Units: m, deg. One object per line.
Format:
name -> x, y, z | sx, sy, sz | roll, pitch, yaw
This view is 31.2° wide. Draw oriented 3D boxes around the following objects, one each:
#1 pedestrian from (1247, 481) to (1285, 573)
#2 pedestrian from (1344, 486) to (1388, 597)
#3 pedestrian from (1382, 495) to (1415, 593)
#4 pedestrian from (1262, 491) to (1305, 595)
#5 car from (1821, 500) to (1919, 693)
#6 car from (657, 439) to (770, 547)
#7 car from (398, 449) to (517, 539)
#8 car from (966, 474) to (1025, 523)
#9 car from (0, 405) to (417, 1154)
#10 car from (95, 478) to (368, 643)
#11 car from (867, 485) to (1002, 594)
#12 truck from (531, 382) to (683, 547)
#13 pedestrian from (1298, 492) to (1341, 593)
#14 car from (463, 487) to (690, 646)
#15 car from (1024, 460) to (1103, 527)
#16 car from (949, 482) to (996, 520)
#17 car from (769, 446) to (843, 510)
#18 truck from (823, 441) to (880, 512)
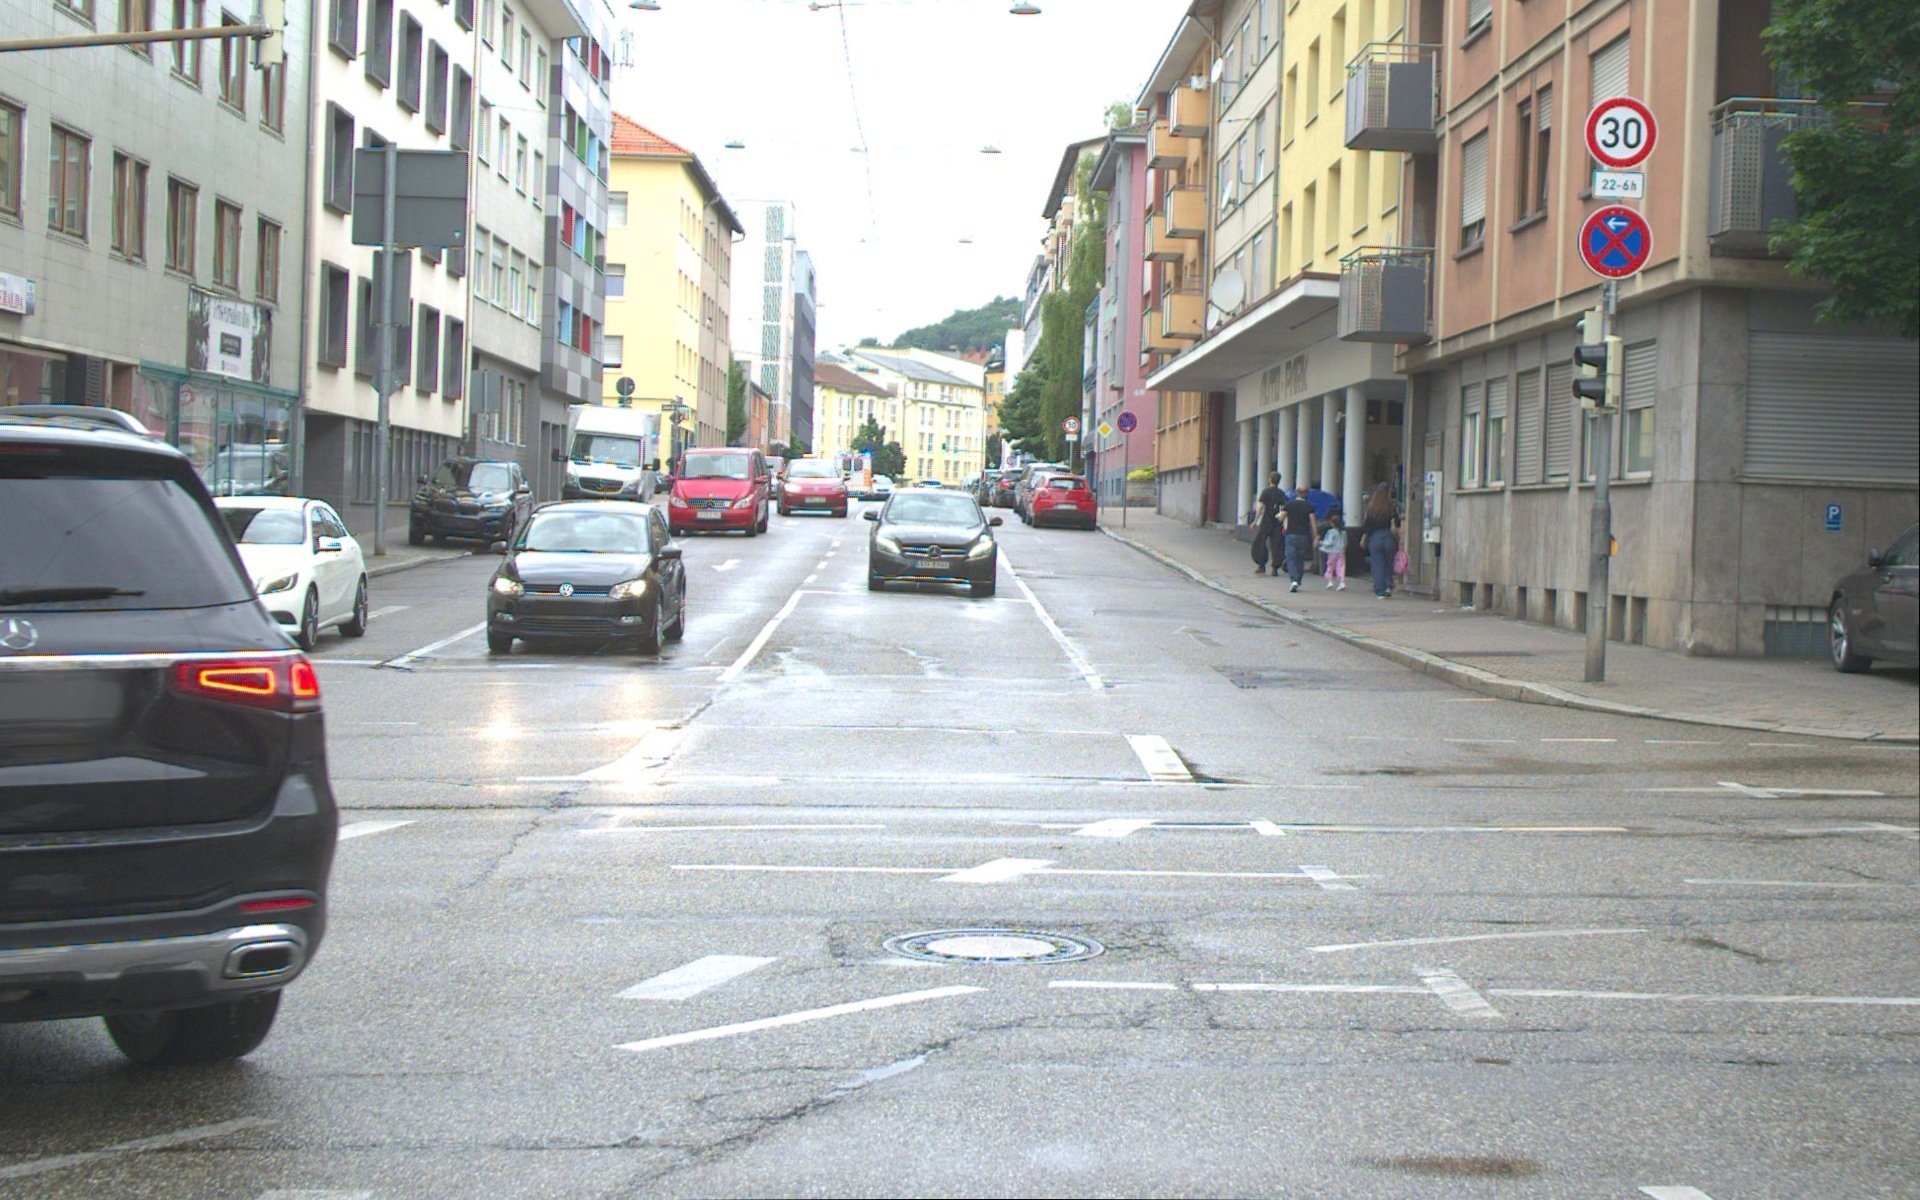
pedestrian -> 5.356, -1.282, 60.156 | 0.520, 1.550, 0.569 | 3, 4, -1
pedestrian -> 5.921, -0.856, 50.163 | 0.479, 1.560, 0.558 | 3, 4, -1
pedestrian -> 6.405, -0.822, 50.231 | 0.363, 1.394, 0.370 | 3, 4, -1
pedestrian -> 4.972, -0.881, 52.924 | 0.520, 1.533, 0.569 | 3, 4, -1
car -> 8.643, -0.036, 28.480 | 1.844, 1.549, 4.796 | 1, 1, 1
car -> -5.311, -2.283, 74.510 | 2.065, 2.233, 4.620 | 1, 1, 0
car -> -9.389, -1.968, 64.468 | 1.723, 1.597, 4.000 | 1, 1, -1
car -> 1.317, -3.681, 125.323 | 2.016, 1.557, 4.000 | 3, 0, 2
car -> -3.556, 0.373, 9.911 | 2.021, 1.733, 4.747 | 1, 1, -35
car -> -7.036, -0.409, 33.566 | 1.844, 1.507, 4.000 | 0, 1, 0
car -> -0.372, -0.874, 49.598 | 1.844, 1.484, 4.000 | 1, 1, 0
truck -> -9.053, -3.406, 89.035 | 2.807, 3.819, 8.144 | 3, 0, 1
pedestrian -> 5.540, -0.890, 53.005 | 0.520, 1.513, 0.569 | 3, 4, -1
car -> -3.751, -0.363, 34.226 | 1.844, 1.484, 4.000 | 0, 1, 0
car -> 2.814, -2.874, 93.749 | 2.016, 1.557, 5.154 | 3, 0, 2
car -> 0.610, -4.608, 159.869 | 2.016, 1.557, 4.000 | 3, 0, 2
car -> -4.231, -3.343, 94.799 | 1.844, 1.668, 4.000 | 1, 1, 0
truck -> -6.363, -7.258, 203.153 | 2.807, 3.819, 8.144 | 3, 0, 1
